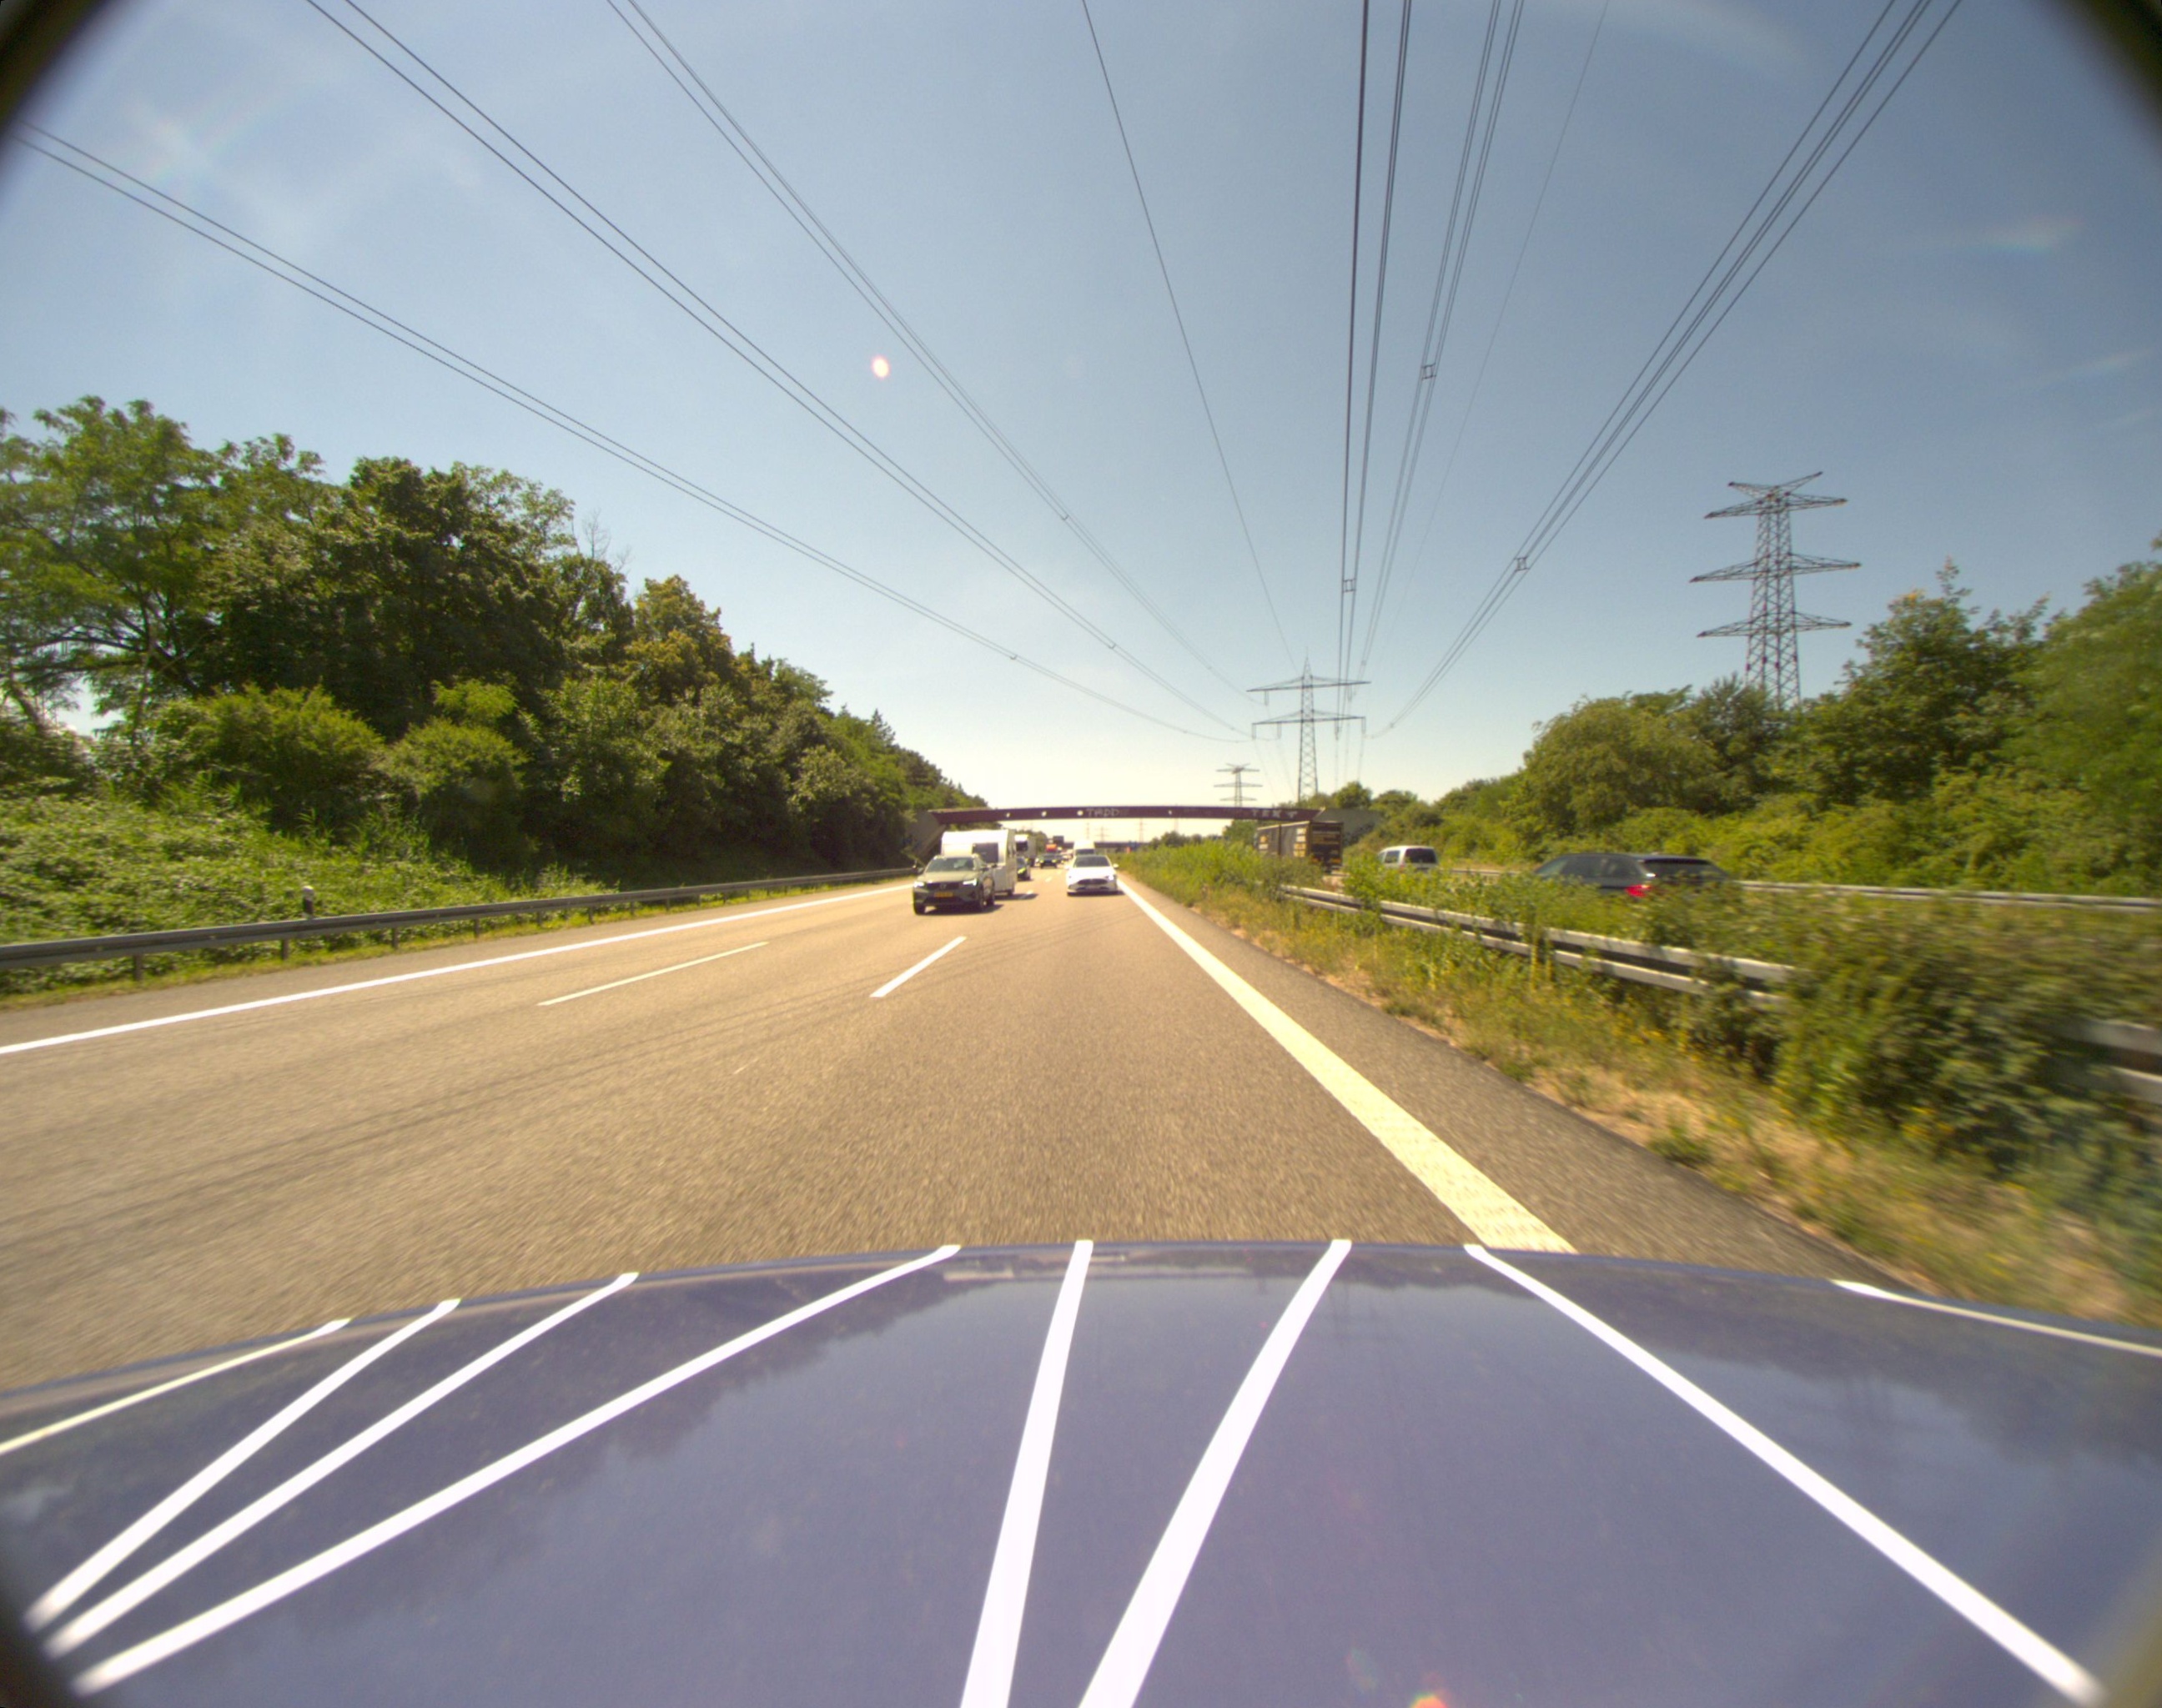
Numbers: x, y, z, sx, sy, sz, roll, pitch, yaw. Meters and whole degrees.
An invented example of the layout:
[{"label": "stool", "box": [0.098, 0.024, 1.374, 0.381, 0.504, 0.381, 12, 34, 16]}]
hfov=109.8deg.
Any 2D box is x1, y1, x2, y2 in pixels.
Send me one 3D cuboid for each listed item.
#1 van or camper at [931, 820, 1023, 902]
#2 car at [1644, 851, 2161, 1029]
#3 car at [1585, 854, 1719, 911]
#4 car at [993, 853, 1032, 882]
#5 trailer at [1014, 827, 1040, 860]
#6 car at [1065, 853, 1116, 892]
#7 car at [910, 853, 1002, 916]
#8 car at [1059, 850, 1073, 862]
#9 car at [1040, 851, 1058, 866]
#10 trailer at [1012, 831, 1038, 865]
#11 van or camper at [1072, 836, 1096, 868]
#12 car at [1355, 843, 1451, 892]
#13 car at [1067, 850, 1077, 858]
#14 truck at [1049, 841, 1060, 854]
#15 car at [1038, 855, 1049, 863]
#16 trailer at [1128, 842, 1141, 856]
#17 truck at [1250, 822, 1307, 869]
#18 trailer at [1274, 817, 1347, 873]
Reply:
[{"label": "van or camper", "box": [-3.640, 0.233, 27.988, 2.445, 2.659, 6.349, -1, 0, 0]}, {"label": "car", "box": [9.313, 0.788, 9.193, 1.789, 1.563, 4.352, -2, 1, 1]}, {"label": "car", "box": [17.497, 0.823, 23.485, 1.565, 1.543, 3.335, 2, 1, 0]}, {"label": "car", "box": [-4.133, 0.816, 46.551, 1.846, 1.496, 4.737, -6, 0, 0]}, {"label": "trailer", "box": [-7.186, -1.328, 102.916, 2.736, 4.078, 13.186, -1, 0, -1]}, {"label": "car", "box": [0.319, 0.717, 32.218, 1.984, 1.525, 4.558, -1, 0, -1]}, {"label": "car", "box": [-3.543, 0.802, 22.441, 1.884, 1.603, 4.701, -2, 0, 0]}, {"label": "car", "box": [-2.233, 0.238, 111.447, 1.984, 1.671, 4.557, 0, 0, -1]}, {"label": "car", "box": [-3.639, 0.513, 87.366, 1.984, 1.670, 4.558, -1, 0, -1]}, {"label": "trailer", "box": [-7.002, -0.781, 95.877, 2.720, 4.078, 6.787, -1, 0, -1]}, {"label": "van or camper", "box": [0.275, -0.150, 68.806, 1.998, 2.740, 5.410, -2, 0, 1]}, {"label": "car", "box": [13.176, 0.502, 31.388, 1.999, 1.851, 4.440, 2, 1, 0]}, {"label": "car", "box": [-1.785, 0.082, 153.060, 1.984, 1.525, 4.137, -1, 0, -1]}, {"label": "truck", "box": [-7.004, -1.602, 199.435, 2.582, 3.204, 5.712, -3, 1, -2]}, {"label": "car", "box": [-6.670, 0.873, 135.547, 1.840, 1.403, 4.558, -2, 0, -1]}, {"label": "trailer", "box": [18.862, -1.685, 267.468, 3.352, 4.381, 14.167, 8, 0, 2]}, {"label": "truck", "box": [18.282, -0.813, 71.170, 2.765, 4.098, 10.215, 0, 1, 1]}, {"label": "trailer", "box": [18.149, -0.722, 60.928, 2.773, 4.072, 10.297, 0, 1, 1]}]
